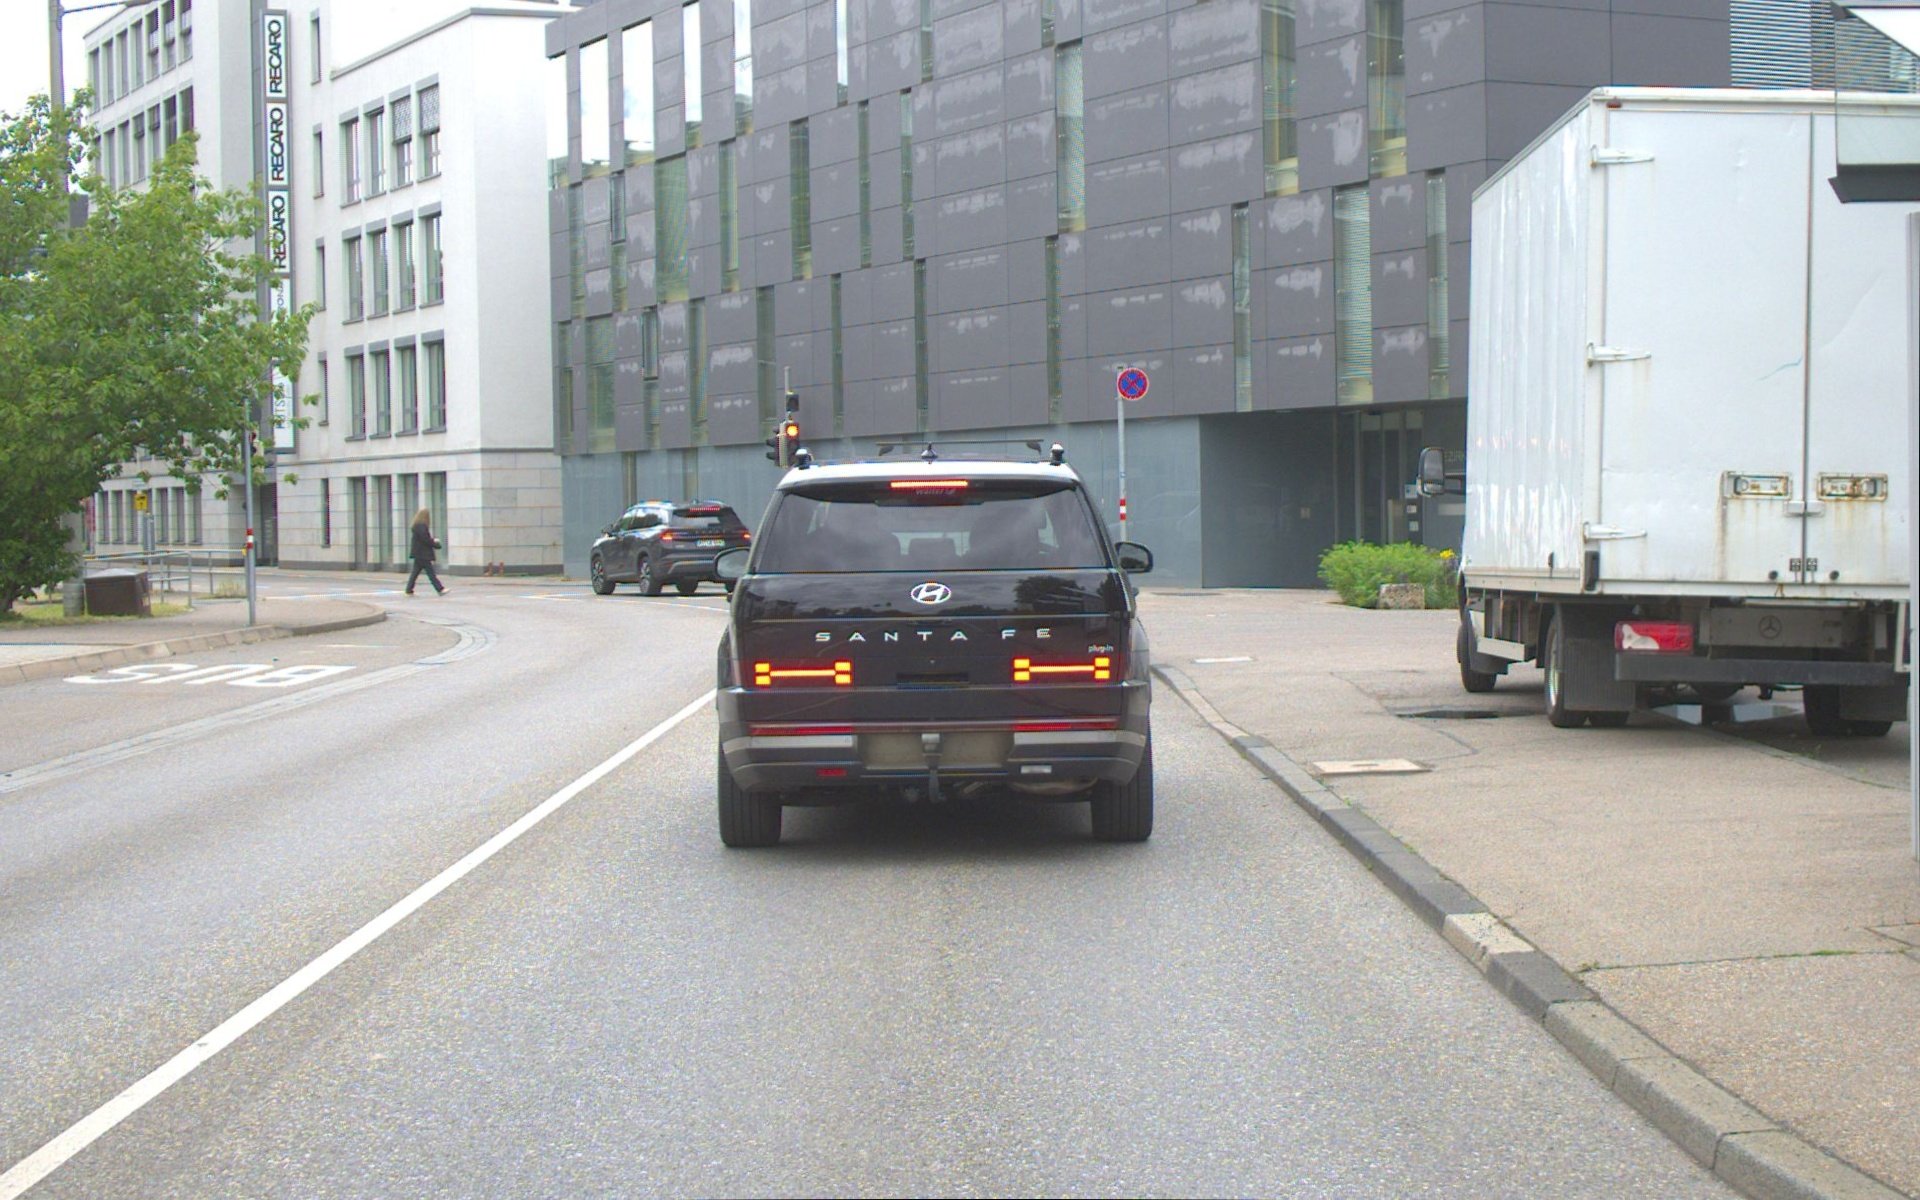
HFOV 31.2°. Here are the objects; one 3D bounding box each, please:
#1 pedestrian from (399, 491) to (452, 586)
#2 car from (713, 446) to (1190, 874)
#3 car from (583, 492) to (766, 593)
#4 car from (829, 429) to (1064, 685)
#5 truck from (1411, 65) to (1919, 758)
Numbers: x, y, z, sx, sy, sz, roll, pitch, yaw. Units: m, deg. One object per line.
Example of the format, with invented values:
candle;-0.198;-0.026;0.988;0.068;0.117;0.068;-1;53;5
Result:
pedestrian;-10.243;-1.179;65.868;0.938;1.794;0.591;-1;2;-11
car;-0.131;0.184;16.018;1.915;1.719;4.171;1;2;-3
car;-5.121;-1.018;61.154;1.847;1.671;4.376;-3;1;-24
car;-0.072;-0.426;29.936;1.855;2.026;4.437;-1;2;1
truck;4.573;-1.087;21.507;2.573;3.513;7.811;-1;2;1
